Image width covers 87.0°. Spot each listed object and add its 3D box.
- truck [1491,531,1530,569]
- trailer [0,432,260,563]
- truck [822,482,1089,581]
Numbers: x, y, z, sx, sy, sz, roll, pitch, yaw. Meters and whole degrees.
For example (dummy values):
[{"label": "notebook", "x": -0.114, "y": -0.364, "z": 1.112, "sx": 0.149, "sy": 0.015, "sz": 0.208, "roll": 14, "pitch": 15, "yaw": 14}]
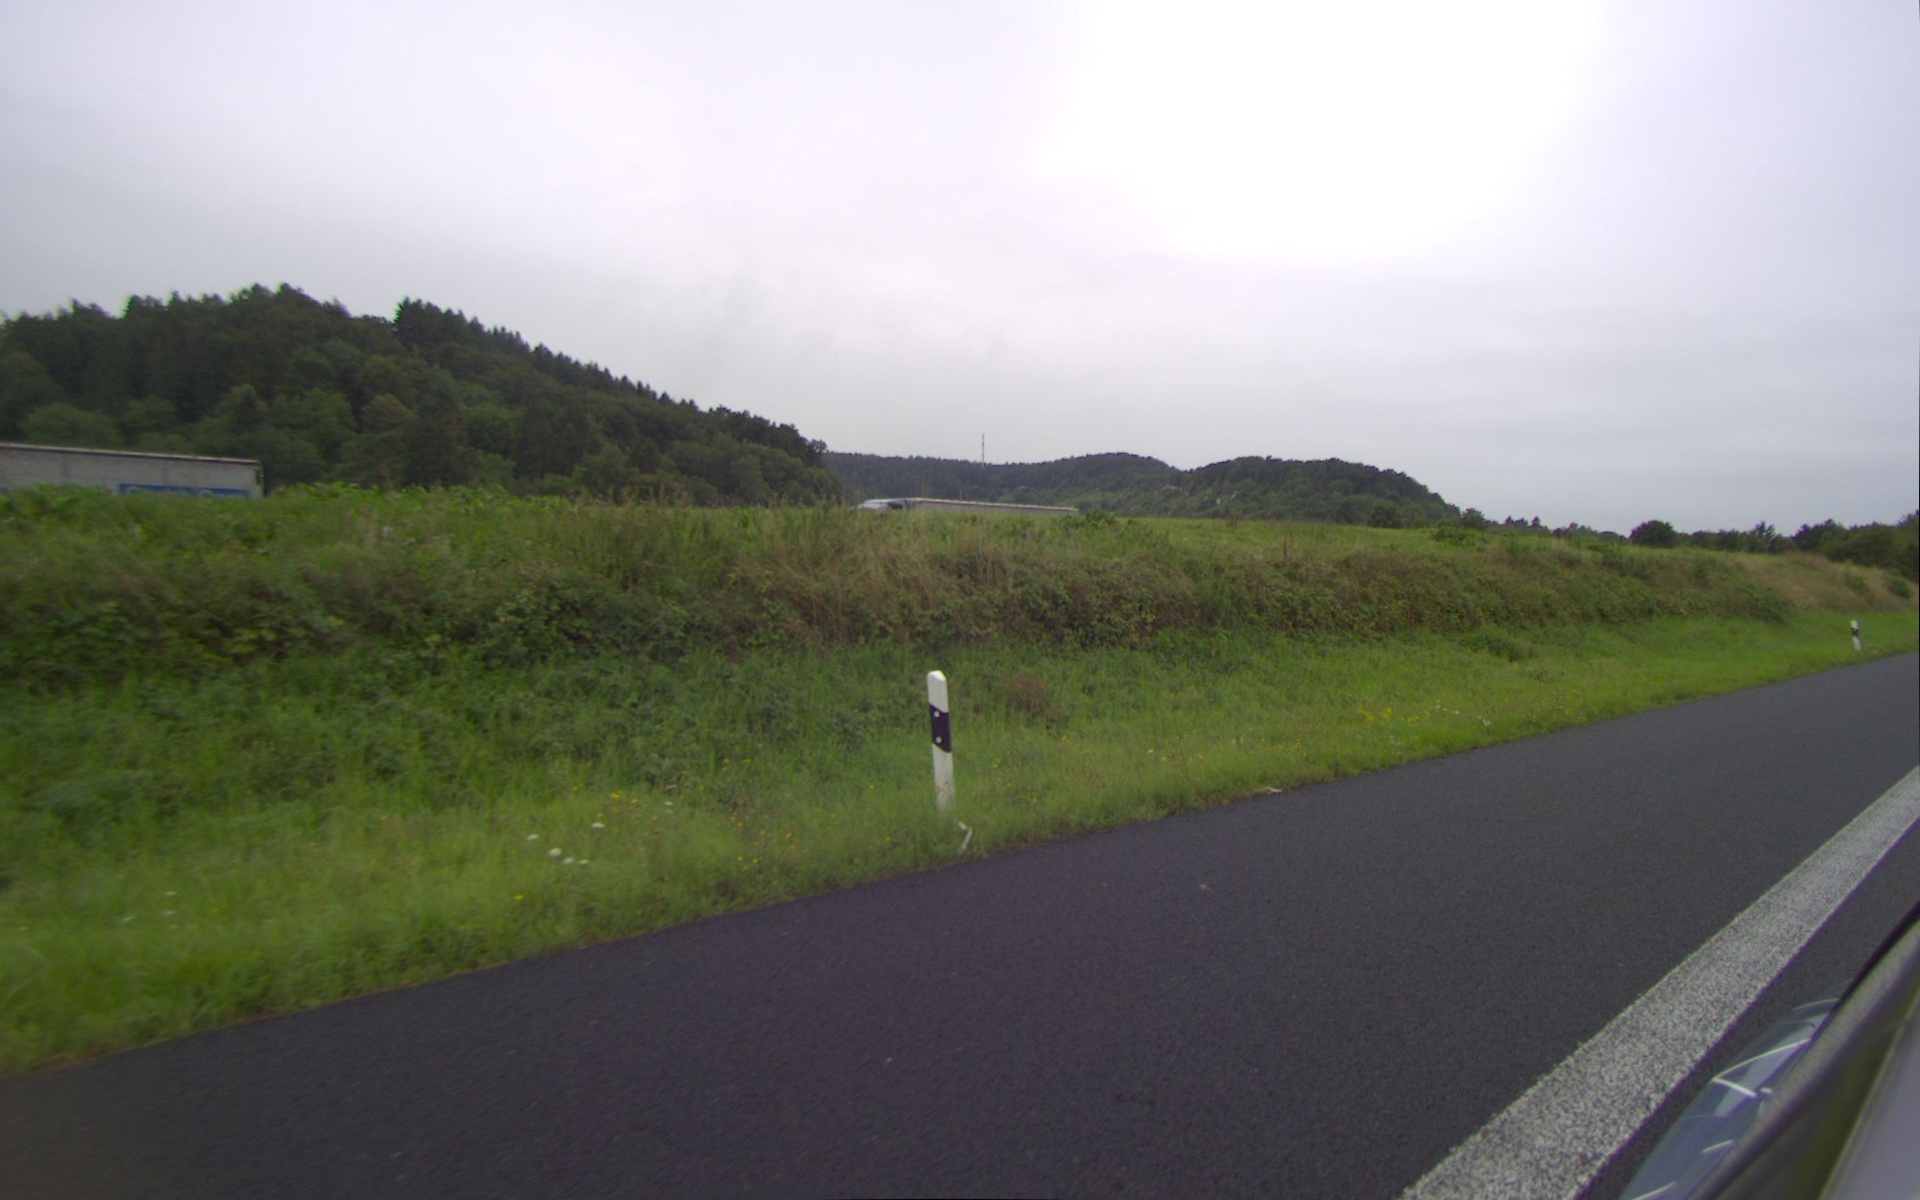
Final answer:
[{"label": "truck", "x": 63.058, "y": -5.673, "z": 115.895, "sx": 2.508, "sy": 4.037, "sz": 5.835, "roll": 0, "pitch": 0, "yaw": 43}, {"label": "trailer", "x": -27.411, "y": -3.105, "z": 32.216, "sx": 3.076, "sy": 3.571, "sz": 7.963, "roll": 0, "pitch": 0, "yaw": 41}, {"label": "truck", "x": 0.309, "y": -3.401, "z": 55.337, "sx": 16.606, "sy": 4.597, "sz": 3.824, "roll": -1, "pitch": 1, "yaw": -44}]
